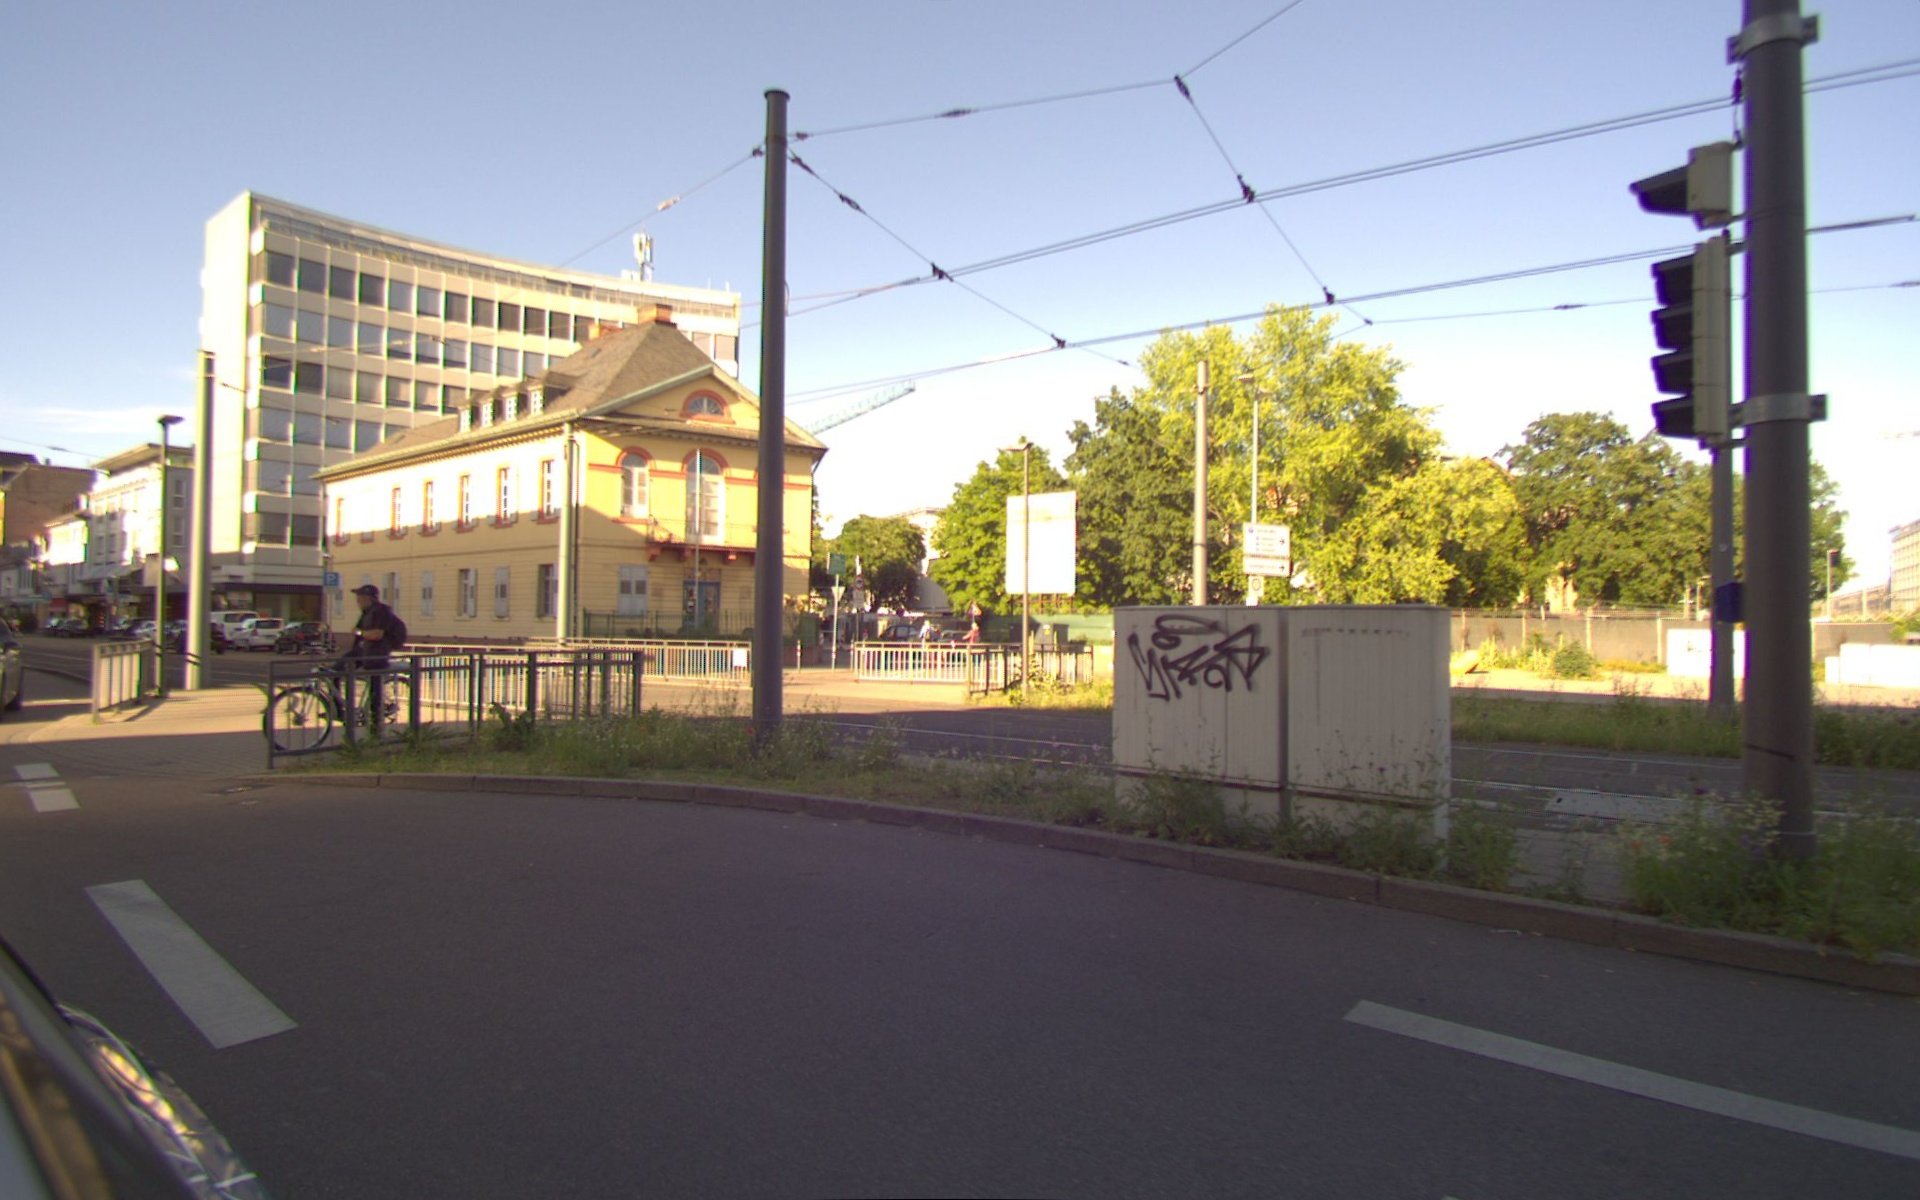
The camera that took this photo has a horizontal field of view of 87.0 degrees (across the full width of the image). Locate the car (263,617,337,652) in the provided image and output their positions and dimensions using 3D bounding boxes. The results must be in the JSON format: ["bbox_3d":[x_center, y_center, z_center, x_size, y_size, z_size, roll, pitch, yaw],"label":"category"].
[{"bbox_3d":[-30.154,1.529,46.207,3.958,1.450,1.759,0,0,40],"label":"car"}]

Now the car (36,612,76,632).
[{"bbox_3d":[-71.625,1.748,80.170,3.830,1.531,1.763,0,-1,40],"label":"car"}]

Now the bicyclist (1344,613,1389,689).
[{"bbox_3d":[9.227,1.144,22.972,0.806,1.661,0.582,0,-1,40],"label":"bicyclist"}]

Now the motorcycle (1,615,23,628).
[{"bbox_3d":[-70.913,1.617,75.663,2.147,0.933,0.595,0,-1,30],"label":"motorcycle"}]

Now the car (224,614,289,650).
[{"bbox_3d":[-34.806,1.534,50.039,4.175,1.633,1.758,0,0,42],"label":"car"}]

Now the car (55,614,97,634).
[{"bbox_3d":[-67.393,1.839,77.127,3.593,1.427,1.764,0,-1,38],"label":"car"}]

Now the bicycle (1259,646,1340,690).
[{"bbox_3d":[8.711,1.723,26.013,1.885,1.021,0.642,0,-1,43],"label":"bicycle"}]

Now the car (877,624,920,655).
[{"bbox_3d":[-3.548,2.234,58.037,1.772,1.683,3.766,1,-1,-14],"label":"car"}]

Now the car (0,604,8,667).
[{"bbox_3d":[-27.198,0.889,27.276,3.958,1.676,1.715,0,-3,40],"label":"car"}]

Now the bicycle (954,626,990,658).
[{"bbox_3d":[0.463,1.661,40.686,0.522,1.223,1.890,1,-1,-32],"label":"bicycle"}]

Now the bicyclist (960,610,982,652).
[{"bbox_3d":[0.444,1.241,40.637,0.513,1.686,0.772,1,-1,-34],"label":"bicyclist"}]

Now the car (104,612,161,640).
[{"bbox_3d":[-53.413,1.638,65.280,4.275,1.654,1.908,0,0,37],"label":"car"}]

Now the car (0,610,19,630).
[{"bbox_3d":[-76.994,1.575,81.072,4.666,1.521,1.758,-1,-3,40],"label":"car"}]

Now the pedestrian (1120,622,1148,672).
[{"bbox_3d":[6.660,1.784,38.711,0.696,1.865,0.741,2,-1,-38],"label":"pedestrian"}]

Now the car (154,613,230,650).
[{"bbox_3d":[-34.883,1.405,45.917,4.115,1.572,1.669,0,-1,37],"label":"car"}]

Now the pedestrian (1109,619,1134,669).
[{"bbox_3d":[6.089,1.644,38.128,0.586,1.831,0.706,2,-1,-38],"label":"pedestrian"}]

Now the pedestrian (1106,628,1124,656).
[{"bbox_3d":[8.329,2.236,54.280,0.684,1.462,0.739,0,-1,33],"label":"pedestrian"}]

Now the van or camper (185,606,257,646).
[{"bbox_3d":[-39.190,1.347,53.621,4.792,1.988,1.935,0,0,39],"label":"van or camper"}]

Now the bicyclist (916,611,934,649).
[{"bbox_3d":[-1.573,1.340,45.477,0.513,1.686,0.773,1,-1,-28],"label":"bicyclist"}]

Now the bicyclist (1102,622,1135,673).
[{"bbox_3d":[4.649,1.371,29.677,0.730,1.465,0.656,0,-1,43],"label":"bicyclist"}]

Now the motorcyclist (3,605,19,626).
[{"bbox_3d":[-70.990,1.146,75.713,0.881,1.570,0.647,0,-1,31],"label":"motorcyclist"}]

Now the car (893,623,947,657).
[{"bbox_3d":[-2.128,2.076,53.017,1.861,1.683,3.876,1,-1,-18],"label":"car"}]

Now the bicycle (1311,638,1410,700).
[{"bbox_3d":[9.101,1.549,23.059,2.025,1.301,0.568,0,-1,40],"label":"bicycle"}]

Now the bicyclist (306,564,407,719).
[{"bbox_3d":[-6.231,0.416,10.459,0.633,1.535,0.675,0,-1,36],"label":"bicyclist"}]

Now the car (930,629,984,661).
[{"bbox_3d":[-0.178,2.108,47.787,1.623,1.357,3.770,1,-1,-15],"label":"car"}]

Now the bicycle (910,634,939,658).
[{"bbox_3d":[-1.591,2.061,45.477,0.522,1.021,1.891,1,-1,-28],"label":"bicycle"}]

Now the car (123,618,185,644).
[{"bbox_3d":[-49.391,1.888,62.033,4.285,1.463,1.909,0,0,36],"label":"car"}]

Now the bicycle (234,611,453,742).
[{"bbox_3d":[-6.275,0.734,10.403,0.640,1.221,1.804,0,-1,35],"label":"bicycle"}]
